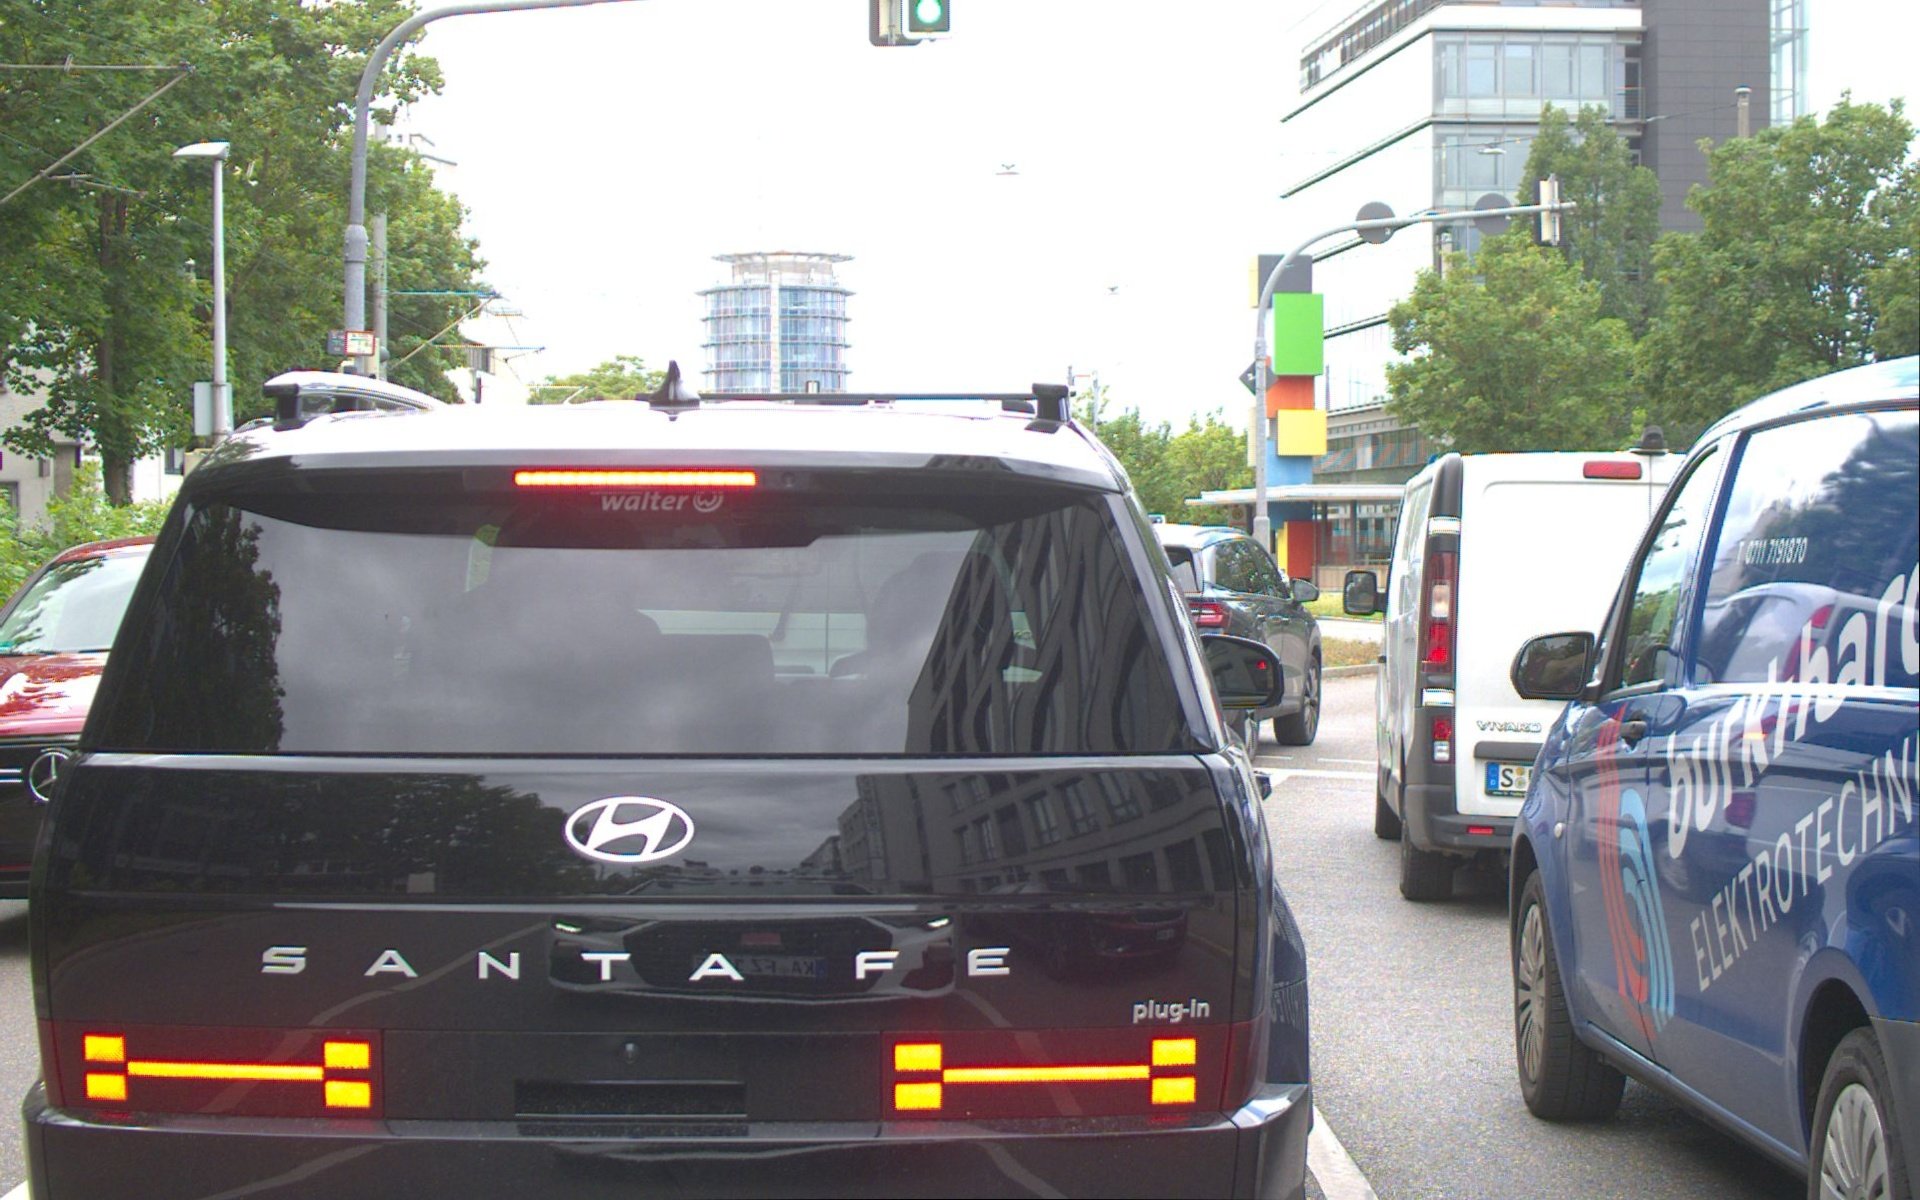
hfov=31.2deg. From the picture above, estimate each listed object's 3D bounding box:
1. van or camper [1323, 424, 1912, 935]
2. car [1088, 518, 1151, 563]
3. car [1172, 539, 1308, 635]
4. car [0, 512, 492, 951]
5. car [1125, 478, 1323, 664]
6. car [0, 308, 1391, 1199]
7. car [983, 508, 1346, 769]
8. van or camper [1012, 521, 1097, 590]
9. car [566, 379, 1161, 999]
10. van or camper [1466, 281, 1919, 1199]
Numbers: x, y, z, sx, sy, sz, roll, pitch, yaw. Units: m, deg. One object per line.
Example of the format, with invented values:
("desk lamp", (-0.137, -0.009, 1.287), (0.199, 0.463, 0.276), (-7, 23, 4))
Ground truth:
("van or camper", (2.848, 0.274, 15.963), (1.994, 2.007, 4.652), (1, 1, 2))
("car", (6.074, -2.264, 131.098), (1.993, 1.678, 4.000), (0, 0, -3))
("car", (4.866, -0.235, 60.216), (1.993, 1.612, 4.000), (0, 0, -1))
("car", (-3.276, 0.480, 14.754), (1.847, 1.575, 4.116), (-2, 0, 1))
("car", (2.979, -0.331, 39.561), (1.993, 2.007, 4.000), (0, 0, 1))
("car", (-0.433, 0.495, 6.088), (1.869, 1.754, 3.880), (0, 1, -1))
("car", (1.579, 0.235, 24.898), (1.777, 1.711, 4.335), (1, 0, 15))
("van or camper", (3.622, -1.674, 130.443), (1.994, 2.538, 6.575), (1, 0, 12))
("car", (-0.333, 0.254, 13.047), (1.915, 1.996, 3.880), (0, 1, -1))
("van or camper", (2.390, 0.424, 7.238), (1.859, 1.904, 5.032), (0, 1, -1))
